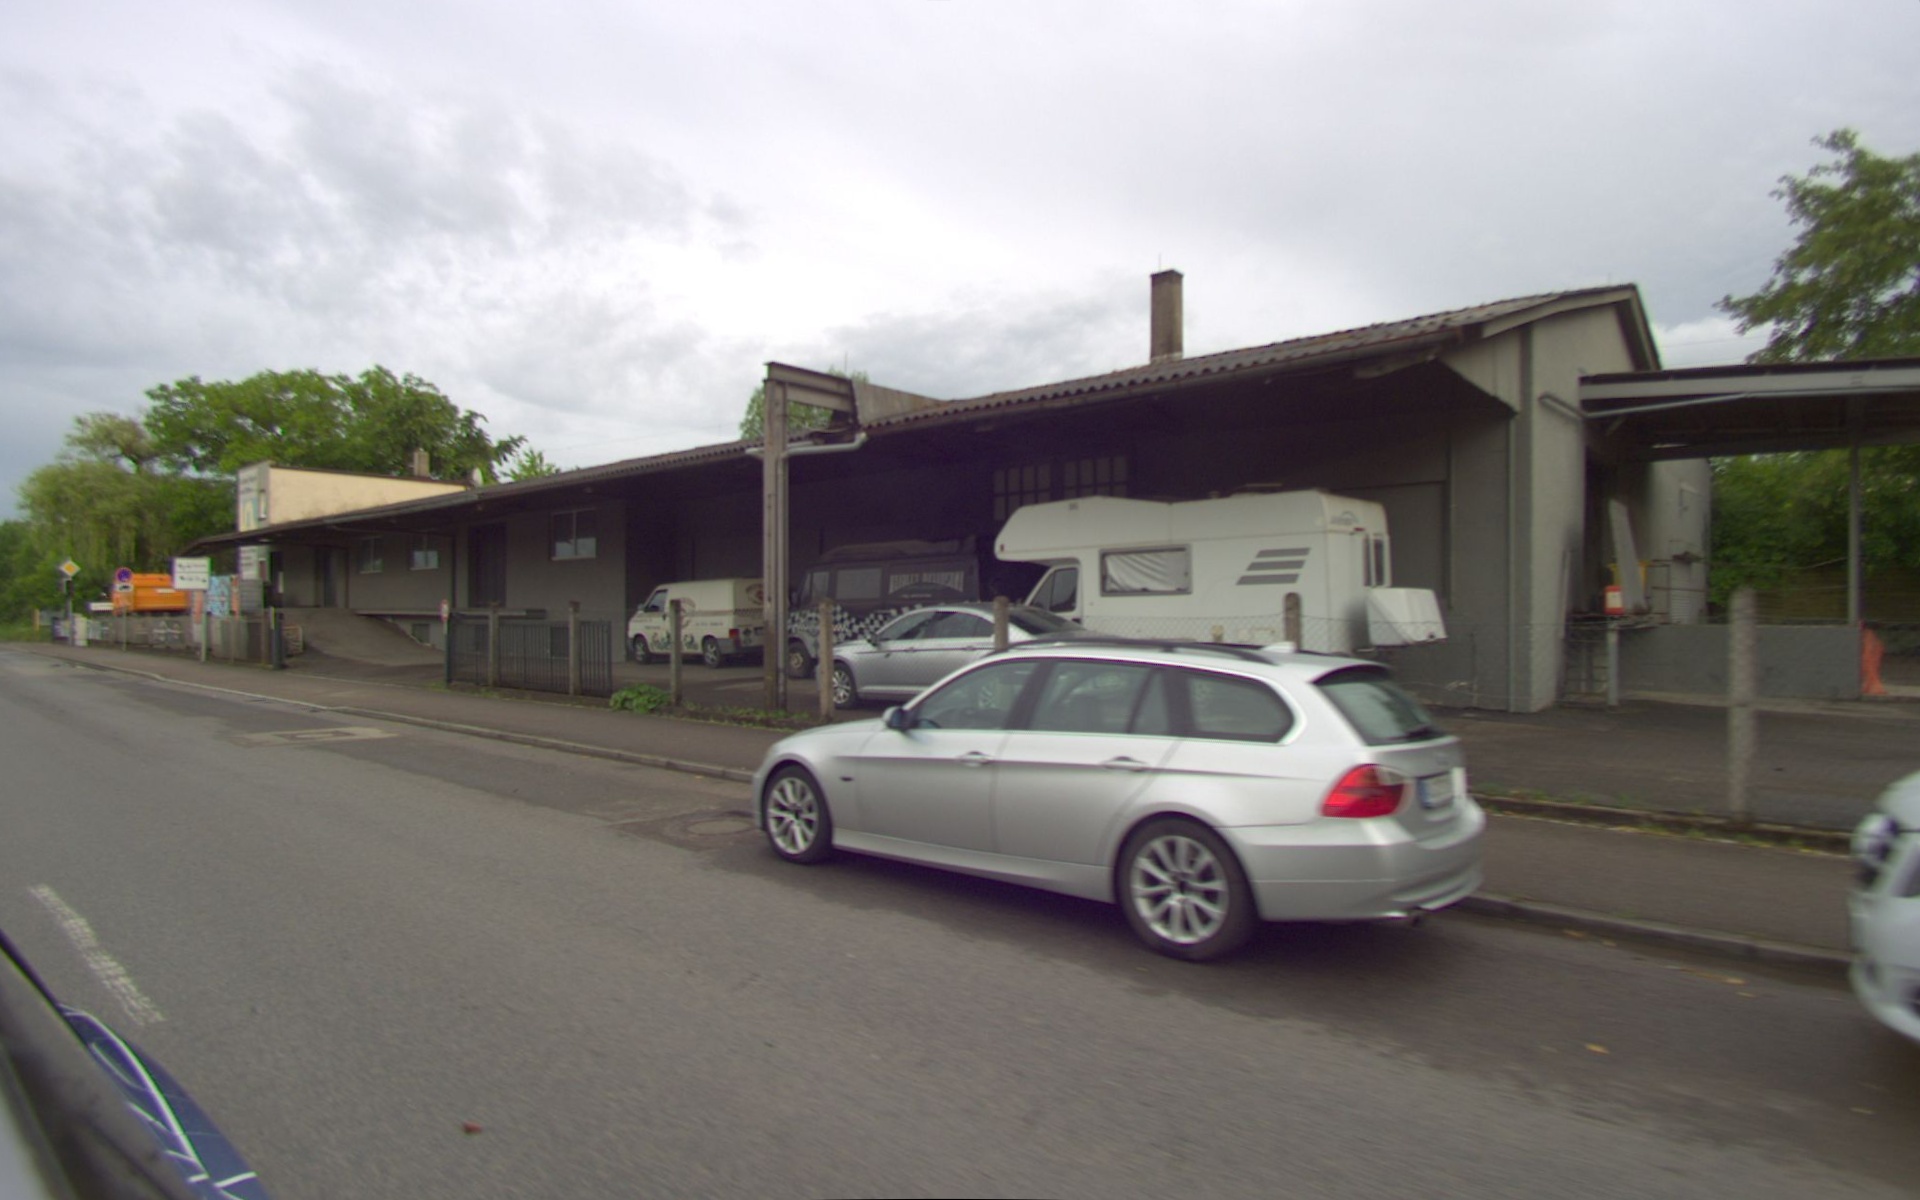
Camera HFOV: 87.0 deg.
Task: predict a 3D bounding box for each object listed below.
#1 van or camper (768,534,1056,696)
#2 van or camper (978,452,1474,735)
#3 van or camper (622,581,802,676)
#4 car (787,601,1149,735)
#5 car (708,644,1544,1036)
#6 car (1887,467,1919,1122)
[{"bbox_3d":[-0.990,0.256,18.141,5.194,2.509,1.973,-1,0,41],"label":"van or camper"},{"bbox_3d":[3.352,-0.043,13.830,6.147,3.058,2.279,-1,0,41],"label":"van or camper"},{"bbox_3d":[-5.741,0.603,23.115,4.374,1.950,1.901,-1,0,43],"label":"van or camper"},{"bbox_3d":[-0.049,0.793,13.510,4.785,1.451,1.810,-1,0,41],"label":"car"},{"bbox_3d":[0.577,0.979,5.931,4.705,1.375,1.620,-1,-2,42],"label":"car"},{"bbox_3d":[5.208,0.563,1.773,5.209,1.906,1.873,-1,-2,42],"label":"car"}]
